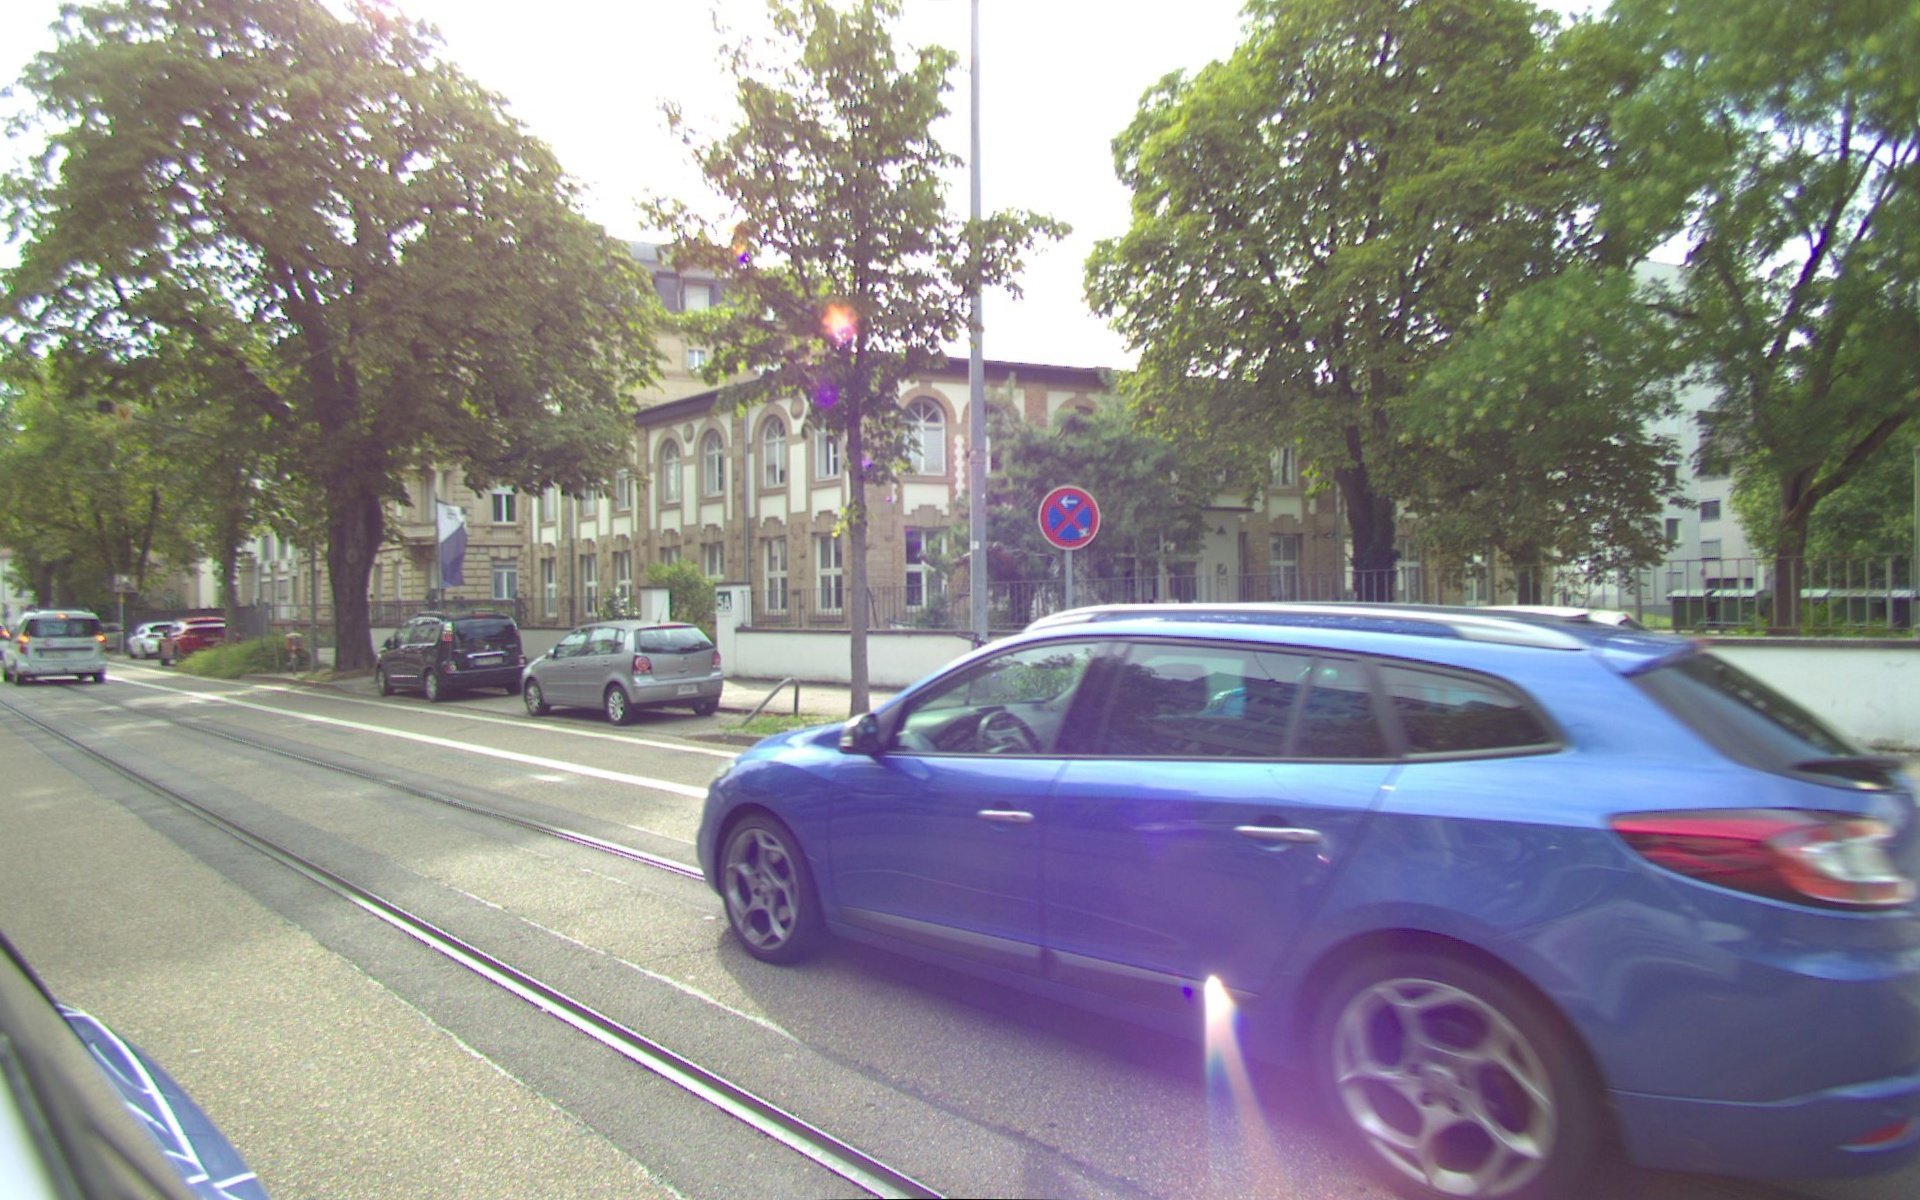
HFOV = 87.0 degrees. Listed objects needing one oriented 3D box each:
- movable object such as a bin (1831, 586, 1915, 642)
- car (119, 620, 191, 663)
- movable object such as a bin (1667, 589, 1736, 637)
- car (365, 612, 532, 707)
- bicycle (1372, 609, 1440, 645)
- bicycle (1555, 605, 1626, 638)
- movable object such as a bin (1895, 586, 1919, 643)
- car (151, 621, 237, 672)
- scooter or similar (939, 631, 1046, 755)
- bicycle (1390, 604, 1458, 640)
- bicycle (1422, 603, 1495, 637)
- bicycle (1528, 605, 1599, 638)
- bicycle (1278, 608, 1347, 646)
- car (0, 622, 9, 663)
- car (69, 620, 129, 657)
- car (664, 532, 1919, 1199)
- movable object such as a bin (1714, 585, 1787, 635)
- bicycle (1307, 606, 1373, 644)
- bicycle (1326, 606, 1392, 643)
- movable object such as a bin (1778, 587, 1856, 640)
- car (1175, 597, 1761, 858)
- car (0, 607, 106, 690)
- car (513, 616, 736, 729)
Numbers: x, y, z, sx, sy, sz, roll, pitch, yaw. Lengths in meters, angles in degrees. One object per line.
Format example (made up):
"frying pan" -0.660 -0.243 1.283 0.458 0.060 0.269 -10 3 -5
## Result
"movable object such as a bin" 24.355 0.371 27.023 1.103 1.441 1.288 0 0 -20
"car" -32.918 1.662 41.342 3.904 1.613 1.637 -2 -1 42
"movable object such as a bin" 22.781 0.388 31.110 1.103 1.441 1.288 0 0 -20
"car" -10.006 1.088 19.705 3.724 1.646 1.637 -2 -1 42
"bicycle" 13.468 0.803 30.611 0.584 1.051 1.984 -1 0 -23
"bicycle" 20.847 0.707 33.495 0.584 1.051 1.984 -1 0 -23
"movable object such as a bin" 24.698 0.357 25.499 1.103 1.441 1.288 0 0 -20
"car" -26.663 1.573 35.182 3.904 1.646 1.637 -2 -1 42
"scooter or similar" 0.336 0.947 10.536 0.988 1.176 0.370 -3 0 -24
"bicycle" 14.163 0.648 30.946 0.584 1.051 1.984 -1 0 -23
"bicycle" 15.690 0.630 31.901 1.978 1.051 0.586 -1 0 44
"bicycle" 19.626 0.691 32.951 0.584 1.051 1.984 -1 0 -23
"bicycle" 10.287 0.769 29.571 0.584 1.051 1.984 -1 0 -30
"car" -40.432 1.736 41.528 4.333 1.624 1.713 -1 -2 43
"car" -40.977 1.799 48.128 3.904 1.646 1.637 -2 -1 42
"car" 0.831 0.683 3.777 4.378 1.508 1.713 -2 -2 43
"movable object such as a bin" 23.284 0.292 29.811 1.103 1.441 1.288 0 0 -20
"bicycle" 11.166 0.719 29.802 0.584 1.051 1.984 -1 0 -23
"bicycle" 11.864 0.711 30.130 0.584 1.051 1.984 -1 0 -23
"movable object such as a bin" 23.985 0.375 28.345 1.103 1.441 1.288 0 0 -20
"car" 3.618 0.756 7.548 3.601 1.476 1.611 -2 -1 42
"car" -23.084 1.170 25.519 4.375 1.898 1.714 -2 -1 41
"car" -5.130 1.010 15.274 3.572 1.476 1.611 -2 -1 42
